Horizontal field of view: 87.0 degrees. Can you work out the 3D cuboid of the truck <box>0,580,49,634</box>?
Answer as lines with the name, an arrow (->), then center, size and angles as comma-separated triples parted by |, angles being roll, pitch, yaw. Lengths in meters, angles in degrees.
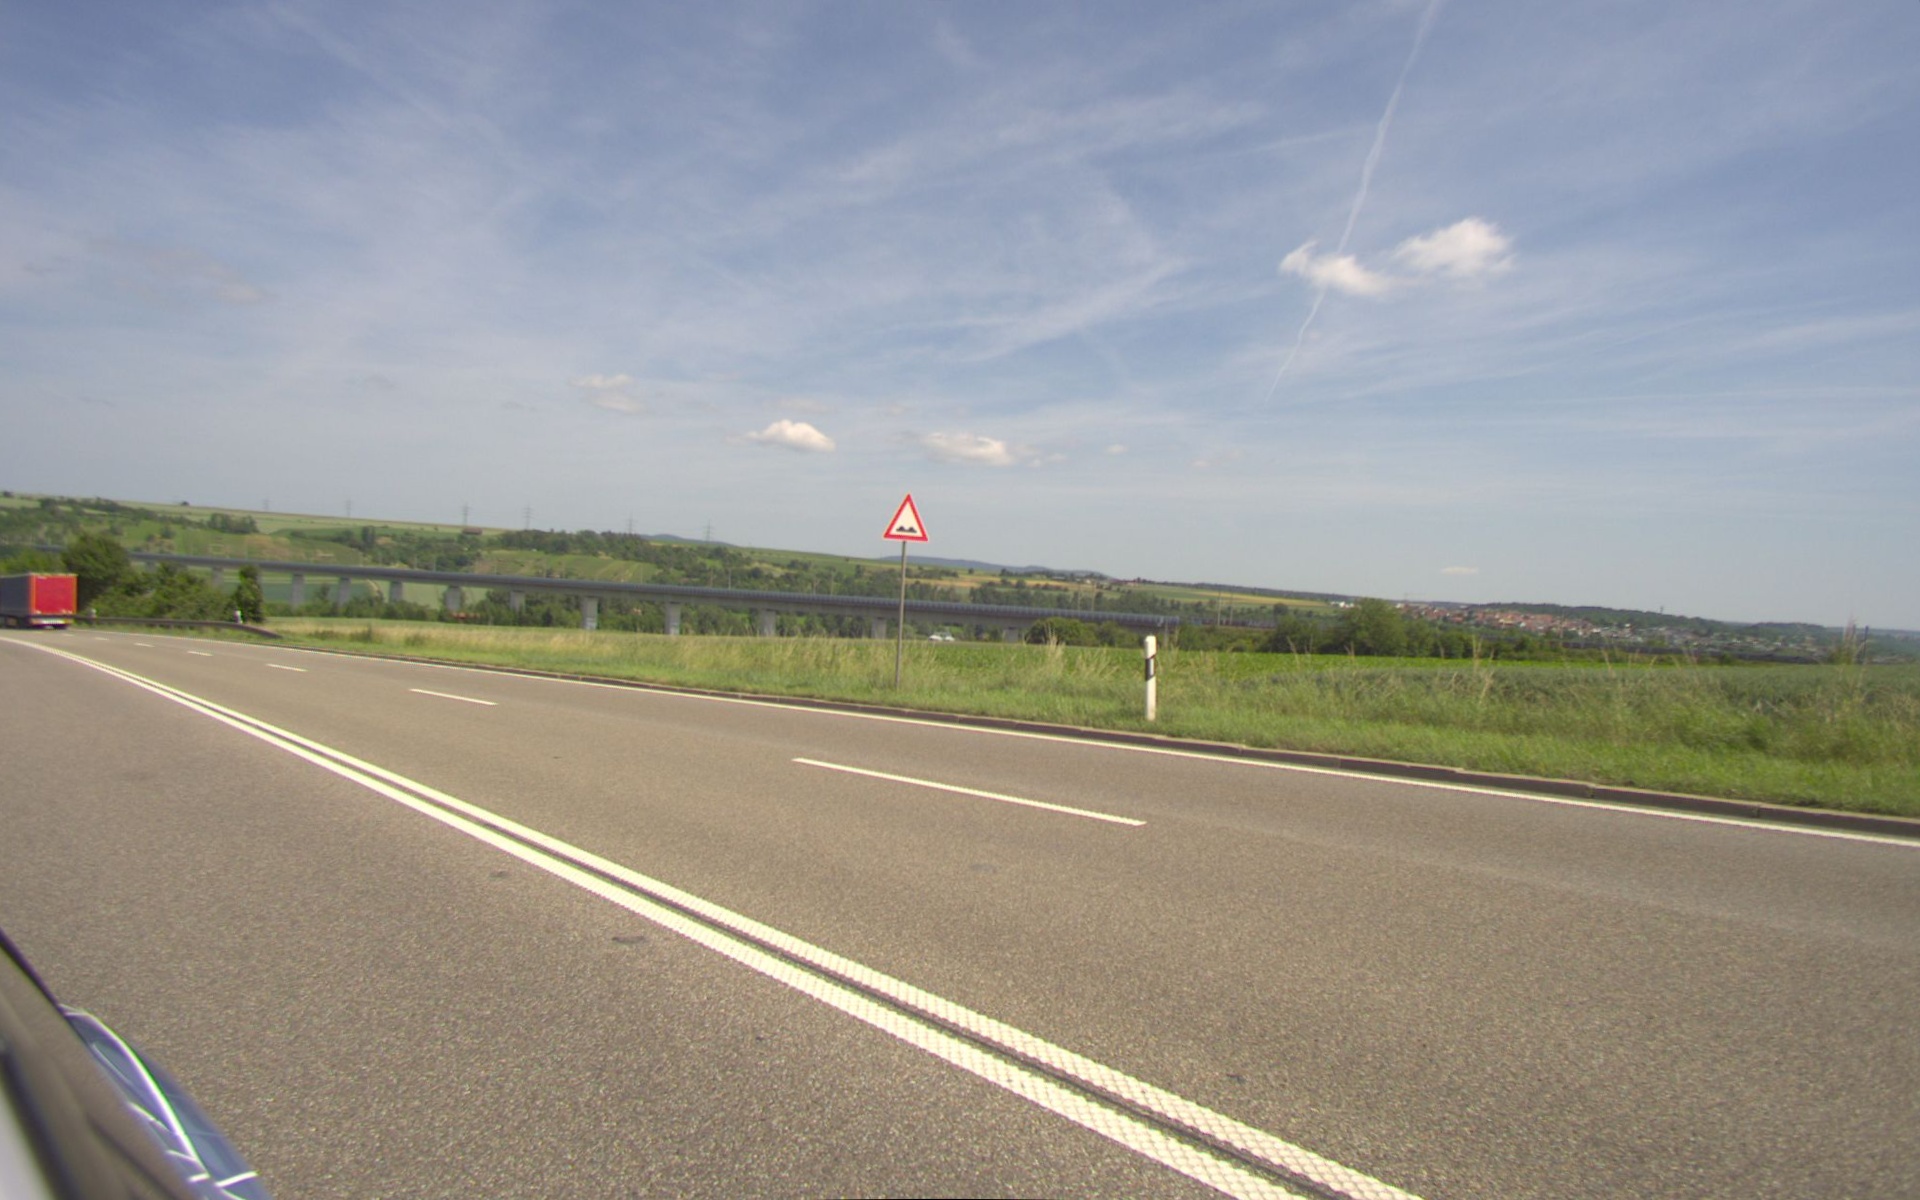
truck -> -75.233, 0.584, 81.124 | 6.086, 4.133, 2.589 | -1, -2, 42

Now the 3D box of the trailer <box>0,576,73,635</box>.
trailer -> -70.117, 0.455, 76.657 | 13.575, 4.133, 2.519 | -1, -2, 41
